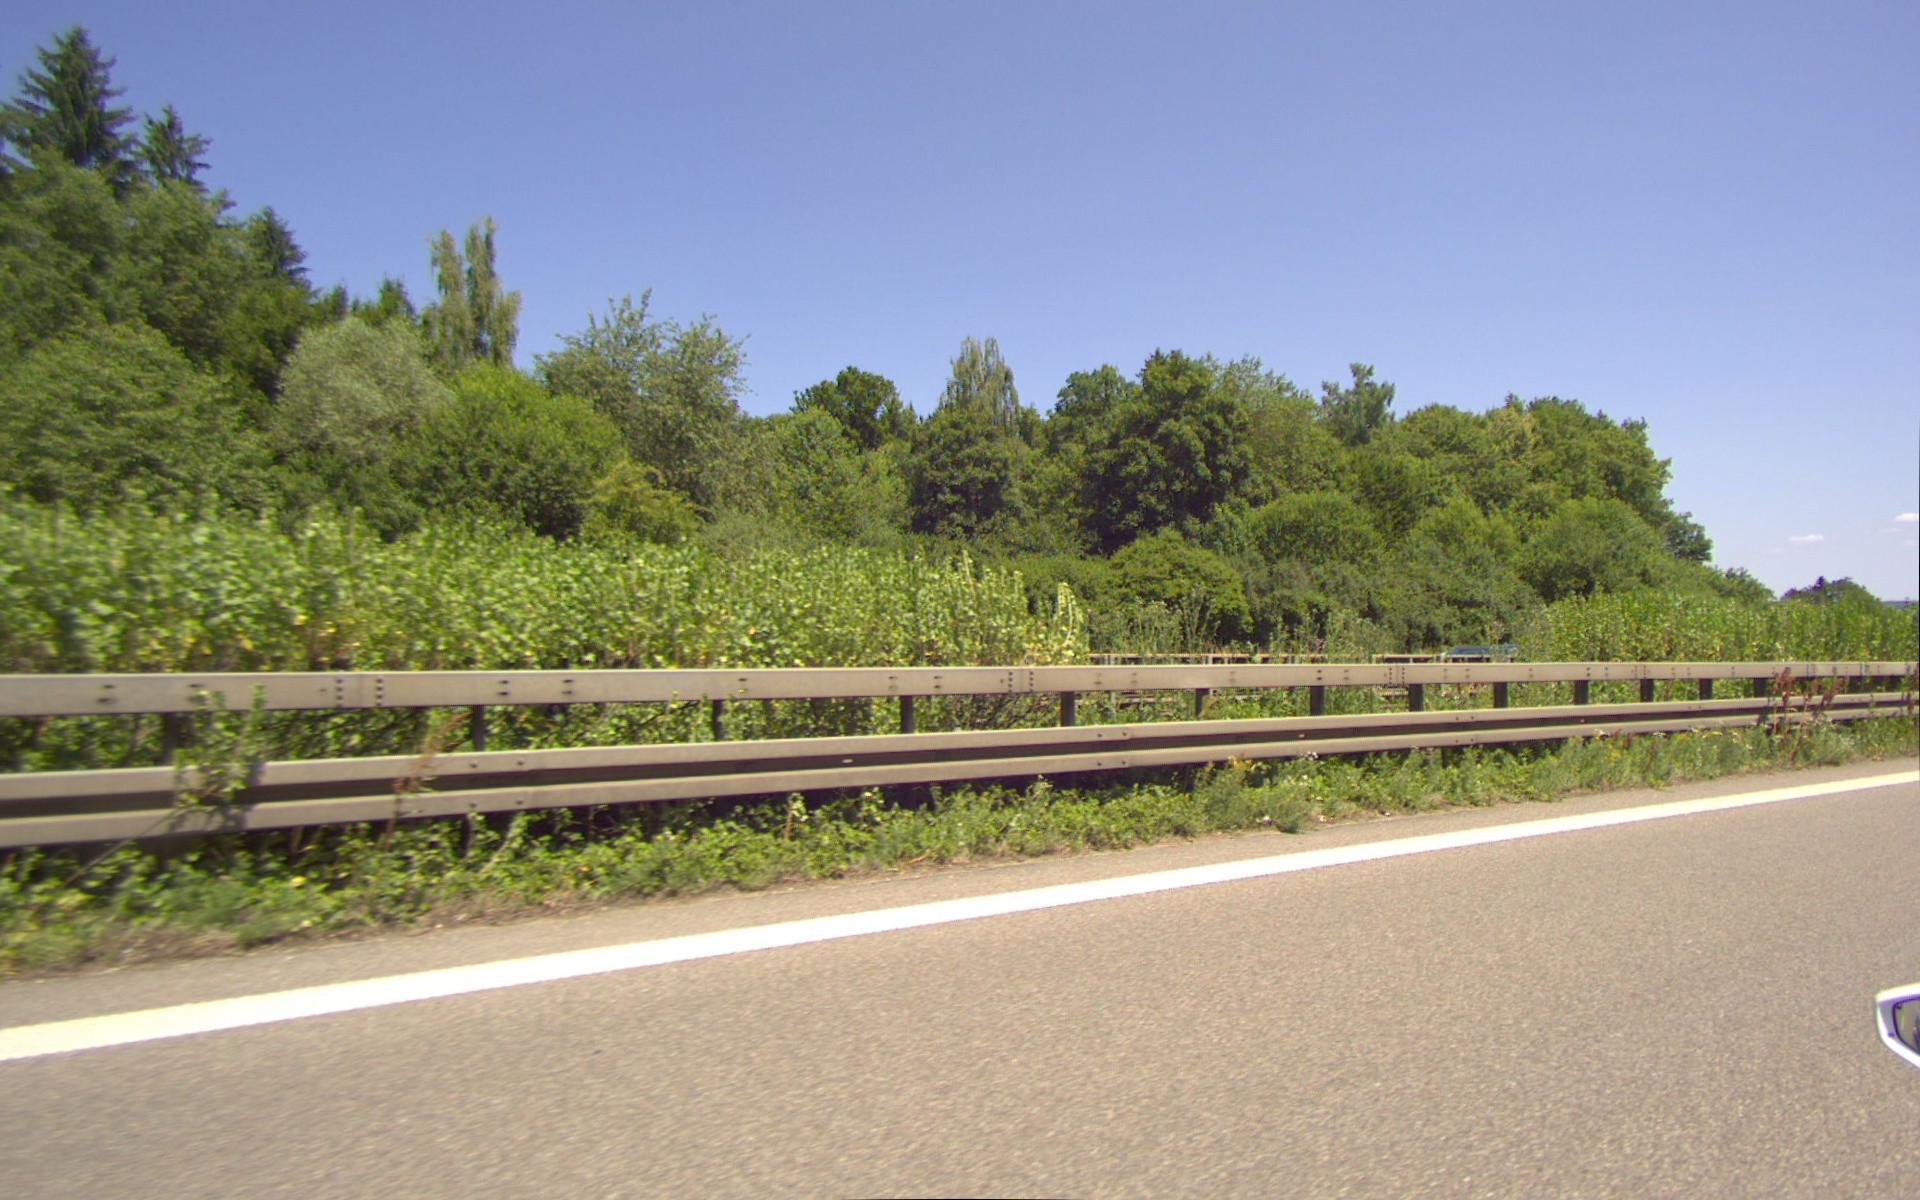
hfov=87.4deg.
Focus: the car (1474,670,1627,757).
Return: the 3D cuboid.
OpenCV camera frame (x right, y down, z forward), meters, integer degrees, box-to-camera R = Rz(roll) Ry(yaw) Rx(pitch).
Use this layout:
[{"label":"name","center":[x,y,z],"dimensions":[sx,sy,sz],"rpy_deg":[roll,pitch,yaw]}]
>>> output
[{"label":"car","center":[16.003,2.994,27.198],"dimensions":[3.953,2.040,1.893],"rpy_deg":[1,-1,-30]}]
